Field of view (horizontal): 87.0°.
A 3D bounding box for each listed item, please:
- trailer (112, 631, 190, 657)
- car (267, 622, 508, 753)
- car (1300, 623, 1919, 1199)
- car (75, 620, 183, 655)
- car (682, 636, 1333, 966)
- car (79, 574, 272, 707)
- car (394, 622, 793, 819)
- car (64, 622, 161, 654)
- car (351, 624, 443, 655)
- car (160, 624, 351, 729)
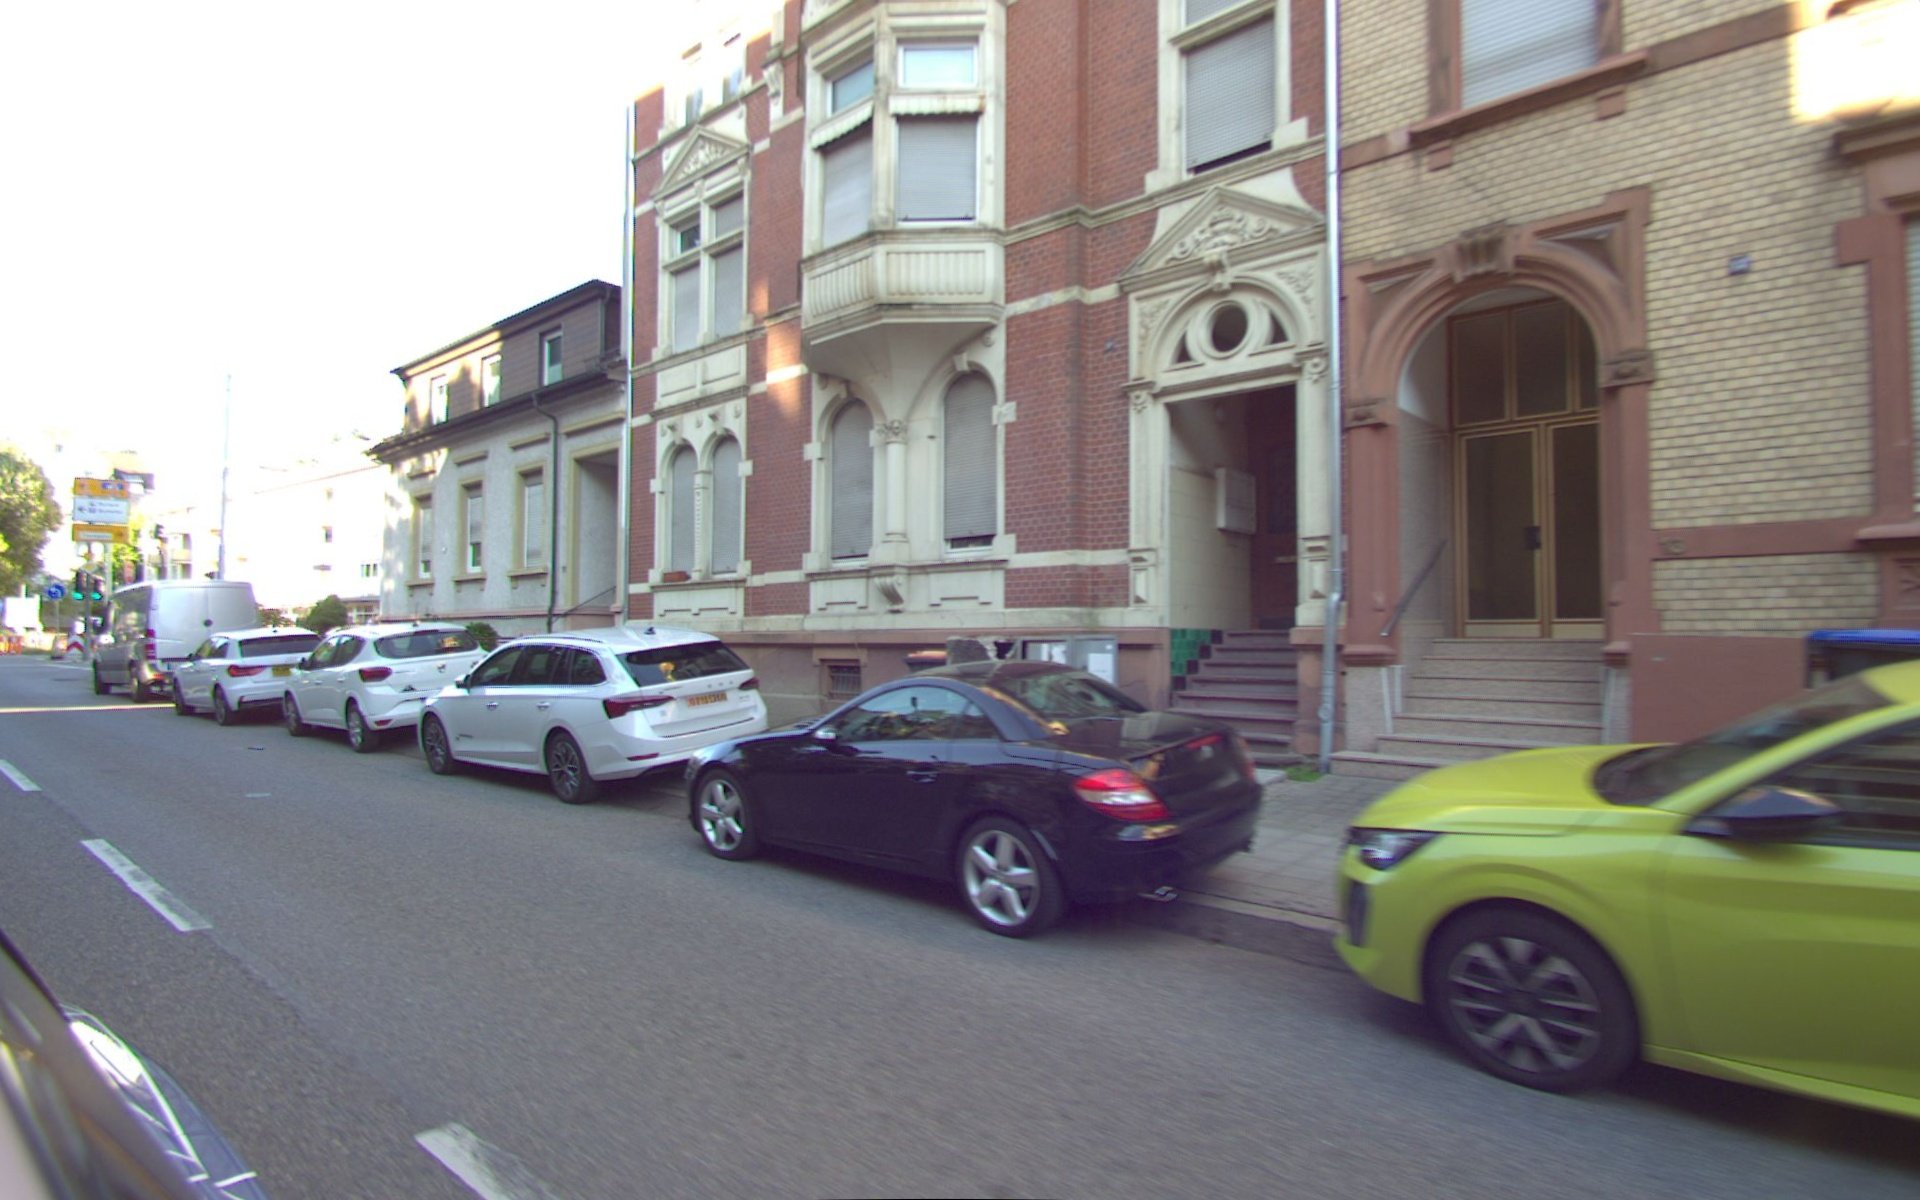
[{"bbox_3d":[-46.684,2.543,58.414,1.571,1.407,3.225,-3,-2,35],"label":"trailer"},{"bbox_3d":[-7.888,1.078,13.800,4.020,1.514,1.684,-2,-2,42],"label":"car"},{"bbox_3d":[3.355,0.869,3.094,4.072,1.514,1.684,0,-1,42],"label":"car"},{"bbox_3d":[-49.569,2.200,60.473,2.113,1.980,4.626,-3,-2,35],"label":"car"},{"bbox_3d":[0.070,0.927,6.283,3.859,1.377,1.684,-2,-2,42],"label":"car"},{"bbox_3d":[-16.858,0.821,21.611,6.009,2.479,2.047,-2,-2,40],"label":"car"},{"bbox_3d":[-3.829,1.023,10.147,4.544,1.548,1.685,-2,-2,39],"label":"car"},{"bbox_3d":[-51.904,2.313,62.048,1.999,1.866,4.269,-3,-2,40],"label":"car"},{"bbox_3d":[-31.684,2.215,56.967,4.258,1.623,2.004,0,-2,-39],"label":"car"},{"bbox_3d":[-11.716,1.181,16.757,3.820,1.514,1.685,-2,-2,40],"label":"car"}]
